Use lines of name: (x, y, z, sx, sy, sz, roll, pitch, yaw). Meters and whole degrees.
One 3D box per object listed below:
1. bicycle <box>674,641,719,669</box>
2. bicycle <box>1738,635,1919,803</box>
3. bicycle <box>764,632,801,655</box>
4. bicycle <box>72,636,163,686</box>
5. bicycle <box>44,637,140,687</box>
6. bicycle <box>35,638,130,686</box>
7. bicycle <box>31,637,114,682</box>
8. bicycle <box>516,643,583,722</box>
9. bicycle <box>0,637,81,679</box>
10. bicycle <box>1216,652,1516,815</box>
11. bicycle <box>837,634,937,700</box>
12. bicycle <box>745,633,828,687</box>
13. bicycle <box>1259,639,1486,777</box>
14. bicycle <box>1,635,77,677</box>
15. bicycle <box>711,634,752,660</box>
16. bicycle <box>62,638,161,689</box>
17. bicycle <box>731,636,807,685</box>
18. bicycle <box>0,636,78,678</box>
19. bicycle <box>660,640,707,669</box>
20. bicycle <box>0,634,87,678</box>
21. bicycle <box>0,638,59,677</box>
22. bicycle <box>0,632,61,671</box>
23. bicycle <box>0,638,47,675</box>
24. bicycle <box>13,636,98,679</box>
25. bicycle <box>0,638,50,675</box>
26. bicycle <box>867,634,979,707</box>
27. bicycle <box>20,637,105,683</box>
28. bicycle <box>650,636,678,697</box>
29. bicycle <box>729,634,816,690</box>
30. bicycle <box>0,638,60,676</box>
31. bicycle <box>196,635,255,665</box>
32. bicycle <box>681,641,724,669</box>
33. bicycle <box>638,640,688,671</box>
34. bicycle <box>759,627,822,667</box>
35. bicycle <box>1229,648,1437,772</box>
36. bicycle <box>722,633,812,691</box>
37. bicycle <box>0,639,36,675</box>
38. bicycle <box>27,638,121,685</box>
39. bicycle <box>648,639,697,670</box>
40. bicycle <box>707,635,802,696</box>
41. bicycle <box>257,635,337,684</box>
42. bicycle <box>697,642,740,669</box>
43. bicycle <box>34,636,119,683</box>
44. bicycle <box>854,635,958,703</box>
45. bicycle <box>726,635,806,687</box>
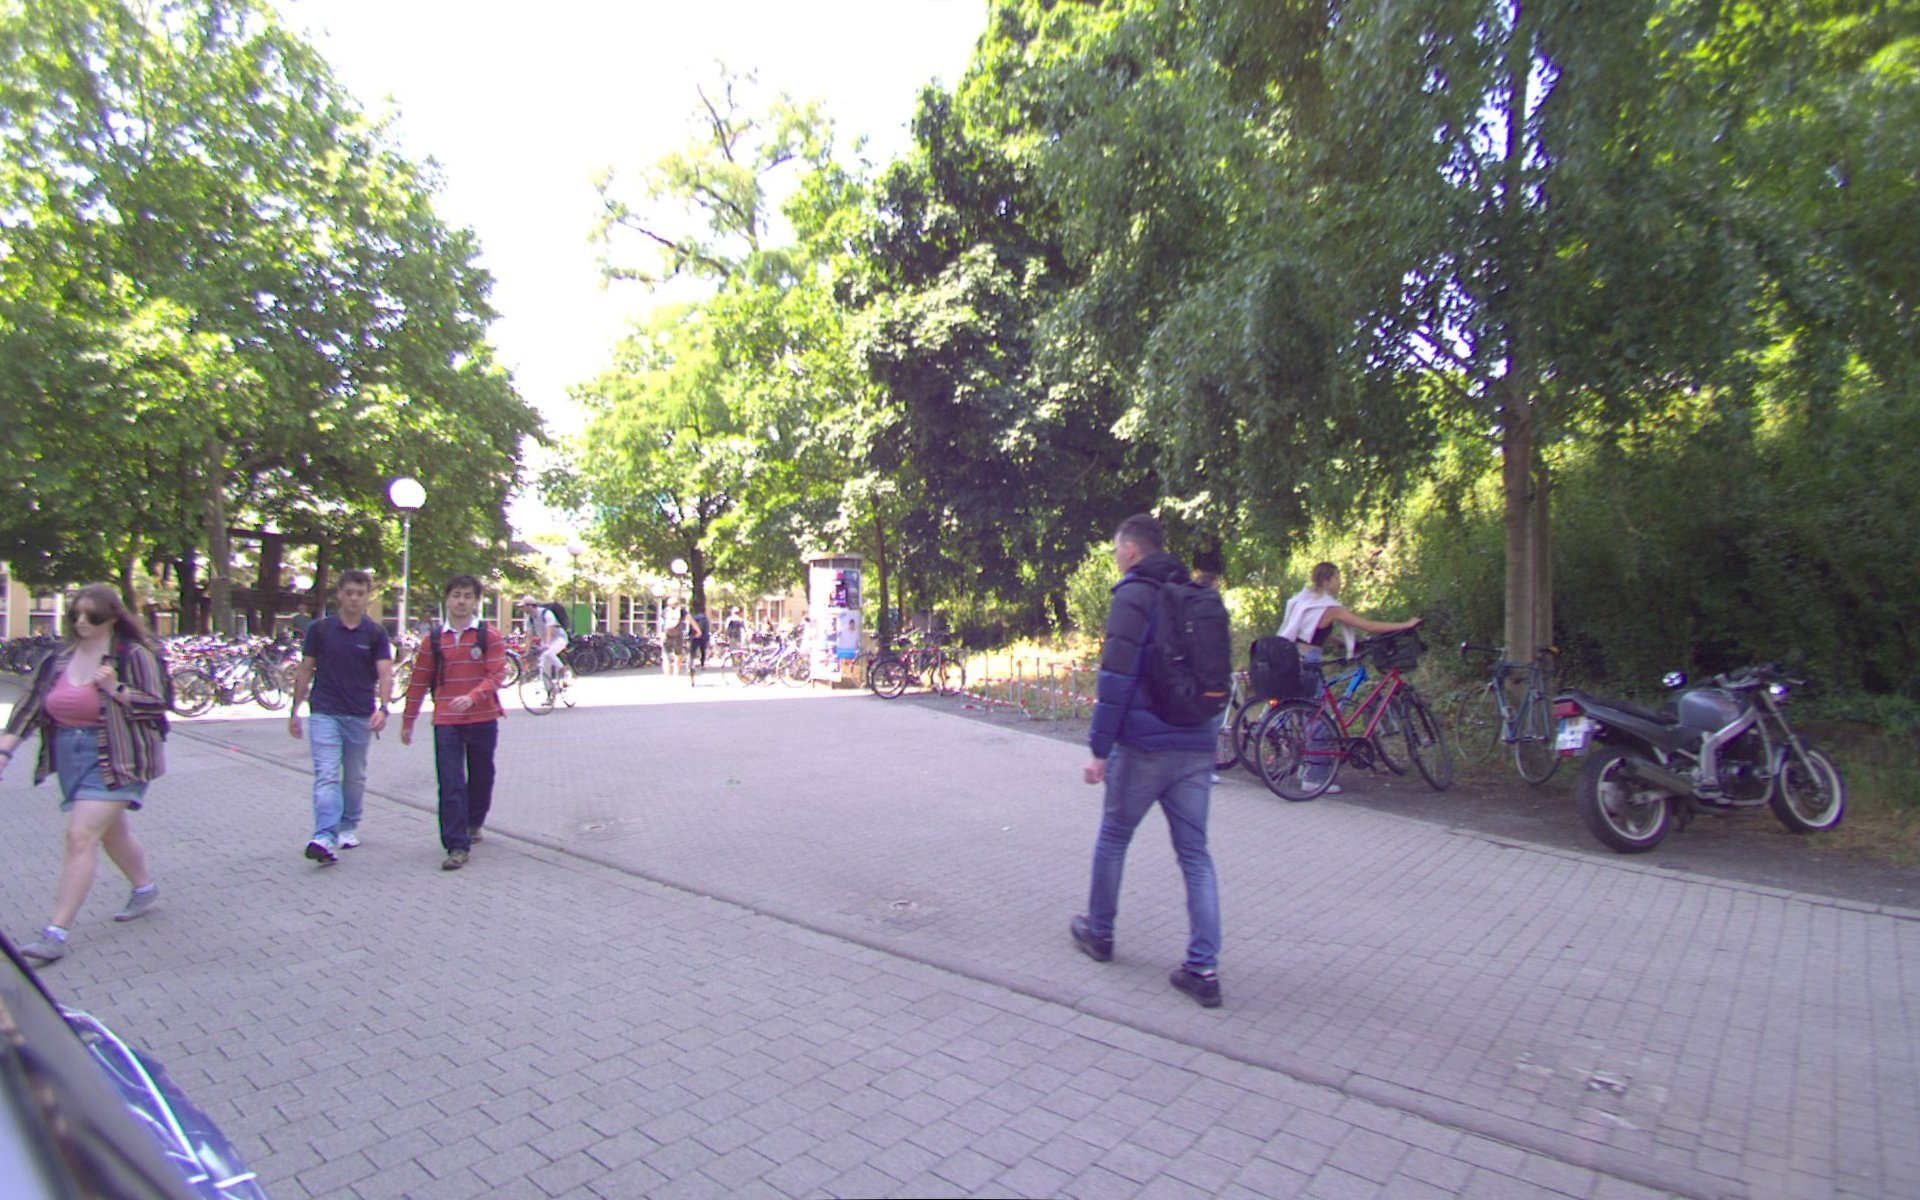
bicycle: (-10.349, 2.156, 39.766, 1.679, 1.092, 0.473, -1, -1, 8)
bicycle: (6.387, 0.795, 6.863, 0.466, 1.055, 1.705, -2, 1, -27)
bicycle: (-8.613, 2.088, 49.086, 1.682, 1.092, 0.472, -1, -1, 12)
bicycle: (-20.465, 1.465, 24.628, 0.493, 1.116, 1.731, -1, -1, 17)
bicycle: (-21.213, 1.506, 24.753, 0.496, 1.135, 1.719, -1, -1, 36)
bicycle: (-21.736, 1.522, 25.094, 0.497, 1.116, 1.717, -1, -1, 41)
bicycle: (-23.637, 1.566, 26.983, 1.603, 1.116, 0.564, 0, -1, -36)
bicycle: (-6.263, 1.230, 15.503, 0.594, 1.092, 1.703, 0, -1, -9)
bicycle: (-25.720, 1.605, 28.335, 0.496, 1.116, 1.610, -1, -1, 35)
bicycle: (2.848, 0.929, 7.208, 1.882, 1.055, 0.542, -1, -1, 0)
bicycle: (-1.322, 1.198, 18.366, 1.747, 1.118, 0.475, 0, -1, -20)
bicycle: (-3.767, 1.288, 21.992, 1.749, 1.118, 0.475, 0, -1, -10)
bicycle: (3.433, 0.892, 8.484, 1.676, 1.055, 0.474, -2, 0, 0)
bicycle: (-27.034, 1.629, 29.720, 0.497, 1.159, 1.607, -1, -1, 41)
bicycle: (-9.743, 1.987, 43.143, 1.682, 1.092, 0.472, -1, -1, 12)
bicycle: (-19.985, 1.466, 23.877, 0.495, 1.116, 1.724, -1, -1, 28)
bicycle: (-4.506, 1.415, 23.868, 1.749, 1.118, 0.475, 0, -1, -10)
bicycle: (-26.521, 1.627, 29.137, 0.644, 1.116, 1.610, -1, -1, 35)
bicycle: (-10.602, 2.101, 38.849, 1.676, 1.092, 0.474, 0, -1, 2)
bicycle: (-26.012, 1.579, 28.757, 0.496, 1.170, 1.764, -1, -1, 35)
bicycle: (-28.302, 1.723, 30.548, 1.605, 1.116, 0.497, 0, -1, -45)
bicycle: (-27.787, 1.511, 30.047, 1.605, 1.116, 0.691, 0, -1, -45)
bicycle: (-29.606, 1.763, 31.606, 1.605, 1.116, 0.497, 0, -1, -45)
bicycle: (-24.866, 1.560, 27.860, 1.699, 1.116, 0.720, 0, -1, -39)
bicycle: (-29.181, 1.739, 31.237, 0.630, 1.116, 1.606, -1, -1, 45)
bicycle: (-0.600, 1.138, 16.543, 1.747, 1.118, 0.475, 0, -1, -20)
bicycle: (-23.410, 1.550, 26.424, 1.603, 1.116, 0.498, 0, -1, -36)
bicycle: (-5.899, 1.289, 20.120, 0.466, 1.118, 1.851, 0, -1, -19)
bicycle: (-3.889, 1.270, 21.028, 1.749, 1.118, 0.475, 0, -1, -10)
bicycle: (-28.641, 1.728, 30.994, 1.605, 1.116, 0.506, 0, -1, -45)
bicycle: (-28.482, 1.923, 39.257, 0.392, 1.116, 1.818, -1, -1, 34)
bicycle: (-10.424, 2.232, 40.986, 1.682, 1.092, 0.472, -1, -1, 12)
bicycle: (-10.720, 2.002, 36.530, 1.676, 1.092, 0.474, 0, -1, 2)
bicycle: (-4.854, 1.334, 29.028, 1.750, 1.118, 0.518, 0, -1, -7)
bicycle: (3.328, 0.972, 9.104, 1.676, 1.055, 0.474, 0, -1, 0)
bicycle: (-3.891, 1.243, 20.470, 1.750, 1.118, 0.475, 0, -1, -5)
bicycle: (-30.164, 1.800, 31.830, 1.605, 1.116, 0.497, 0, -1, -45)
bicycle: (-22.415, 1.545, 25.642, 1.711, 1.116, 0.576, 0, -1, -30)
bicycle: (-10.641, 2.016, 37.511, 1.676, 1.092, 0.474, 0, -1, 2)
bicycle: (-3.920, 1.236, 19.362, 1.750, 1.118, 0.475, 0, -1, -5)
bicycle: (-16.932, 1.508, 25.859, 1.676, 1.209, 0.575, 0, -1, 2)
bicycle: (-10.005, 2.278, 41.927, 1.682, 1.092, 0.472, -1, -1, 12)
bicycle: (-22.817, 1.526, 26.178, 1.603, 1.152, 0.498, 0, -1, -36)
bicycle: (-0.934, 1.177, 17.568, 1.747, 1.118, 0.475, 0, -1, -20)
bicycle: (-4.373, 1.366, 22.821, 1.749, 1.118, 0.475, 0, -1, -10)
